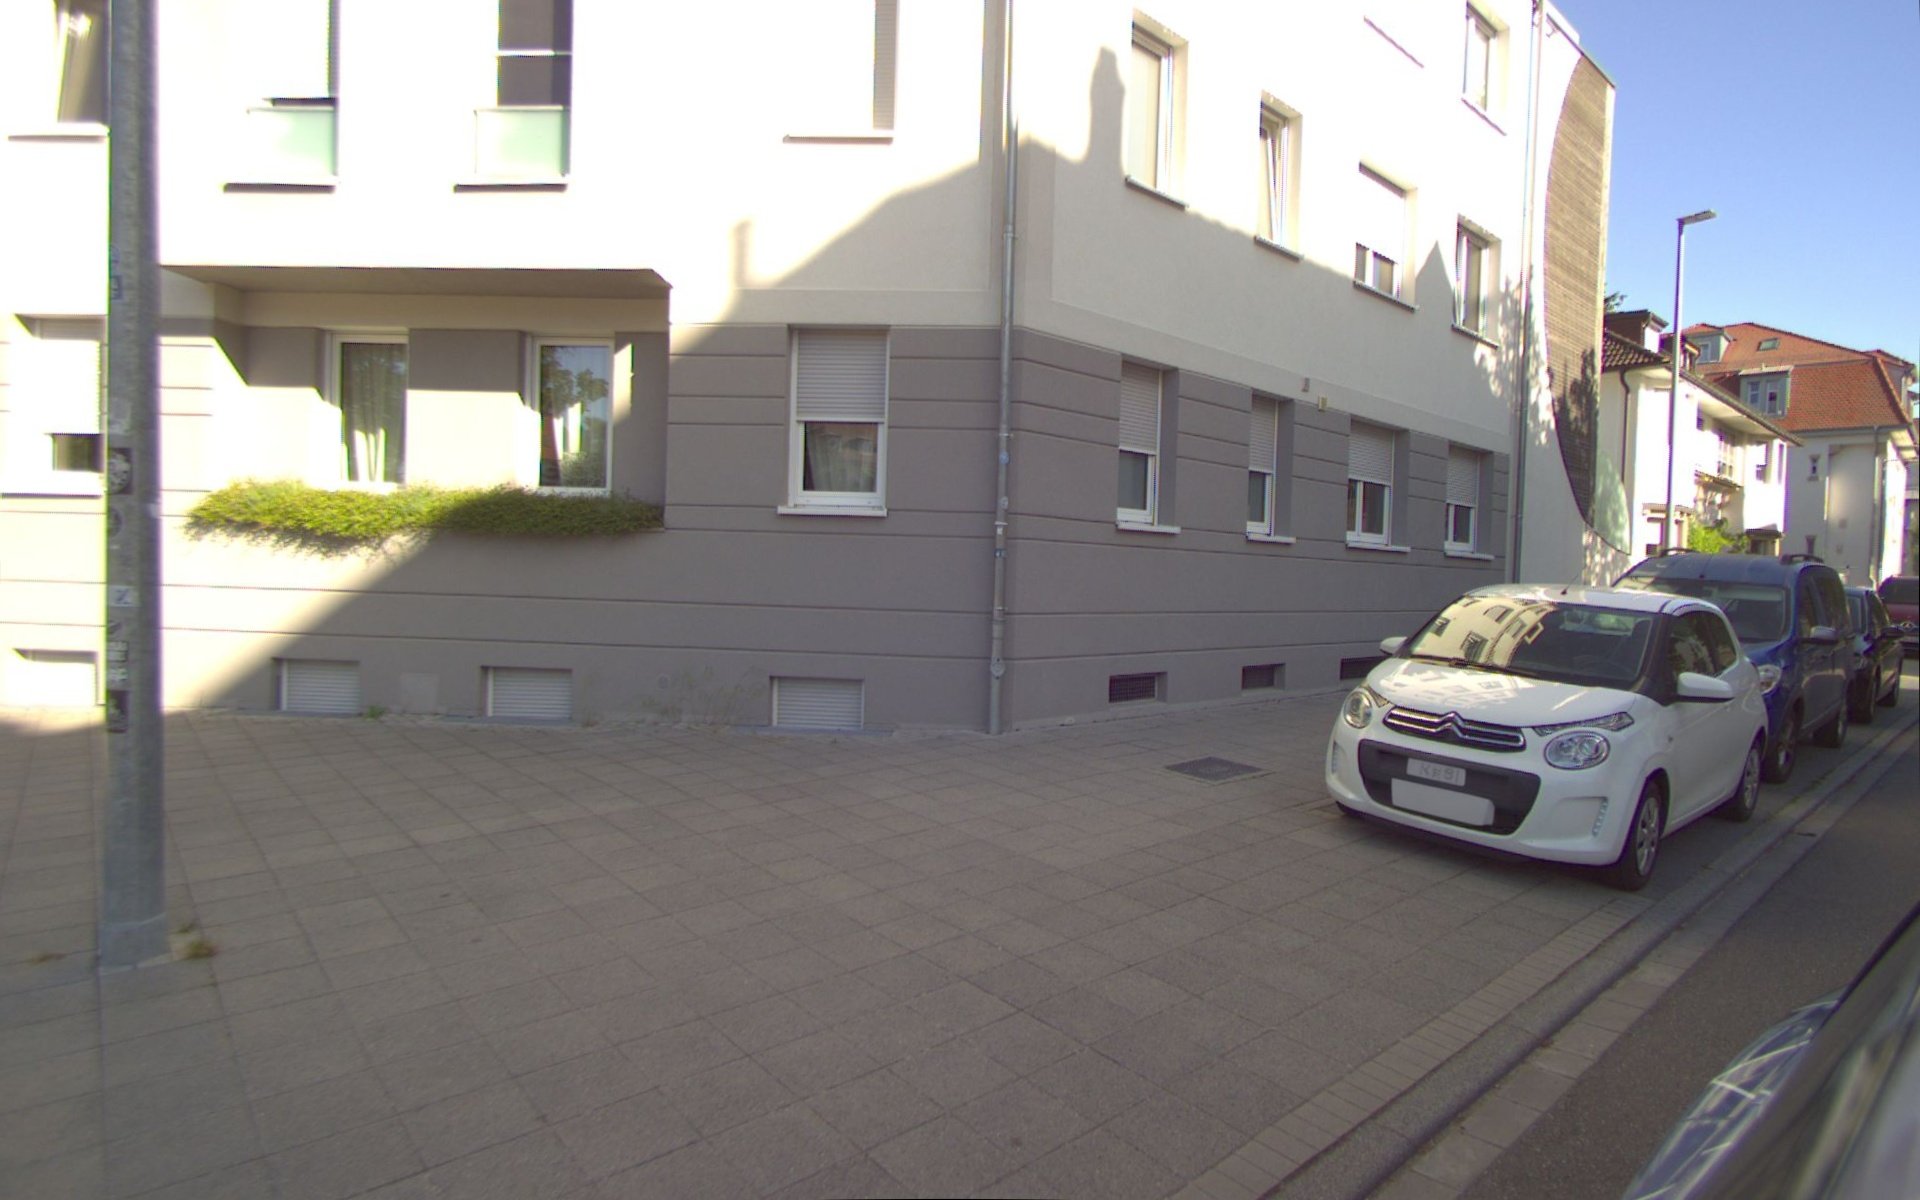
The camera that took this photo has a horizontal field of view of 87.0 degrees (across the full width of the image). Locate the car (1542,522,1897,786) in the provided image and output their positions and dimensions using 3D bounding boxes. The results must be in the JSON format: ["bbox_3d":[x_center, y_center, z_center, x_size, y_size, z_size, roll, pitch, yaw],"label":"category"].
[{"bbox_3d":[7.128,0.353,9.333,4.182,1.857,1.665,0,5,-41],"label":"car"}]

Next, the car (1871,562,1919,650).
[{"bbox_3d":[22.916,0.181,23.587,4.325,1.893,1.884,0,5,-41],"label":"car"}]

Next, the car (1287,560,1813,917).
[{"bbox_3d":[3.785,0.587,6.254,3.624,1.465,1.665,0,5,-42],"label":"car"}]

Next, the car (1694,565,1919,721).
[{"bbox_3d":[10.920,0.445,12.832,3.995,1.560,1.665,0,5,-41],"label":"car"}]
